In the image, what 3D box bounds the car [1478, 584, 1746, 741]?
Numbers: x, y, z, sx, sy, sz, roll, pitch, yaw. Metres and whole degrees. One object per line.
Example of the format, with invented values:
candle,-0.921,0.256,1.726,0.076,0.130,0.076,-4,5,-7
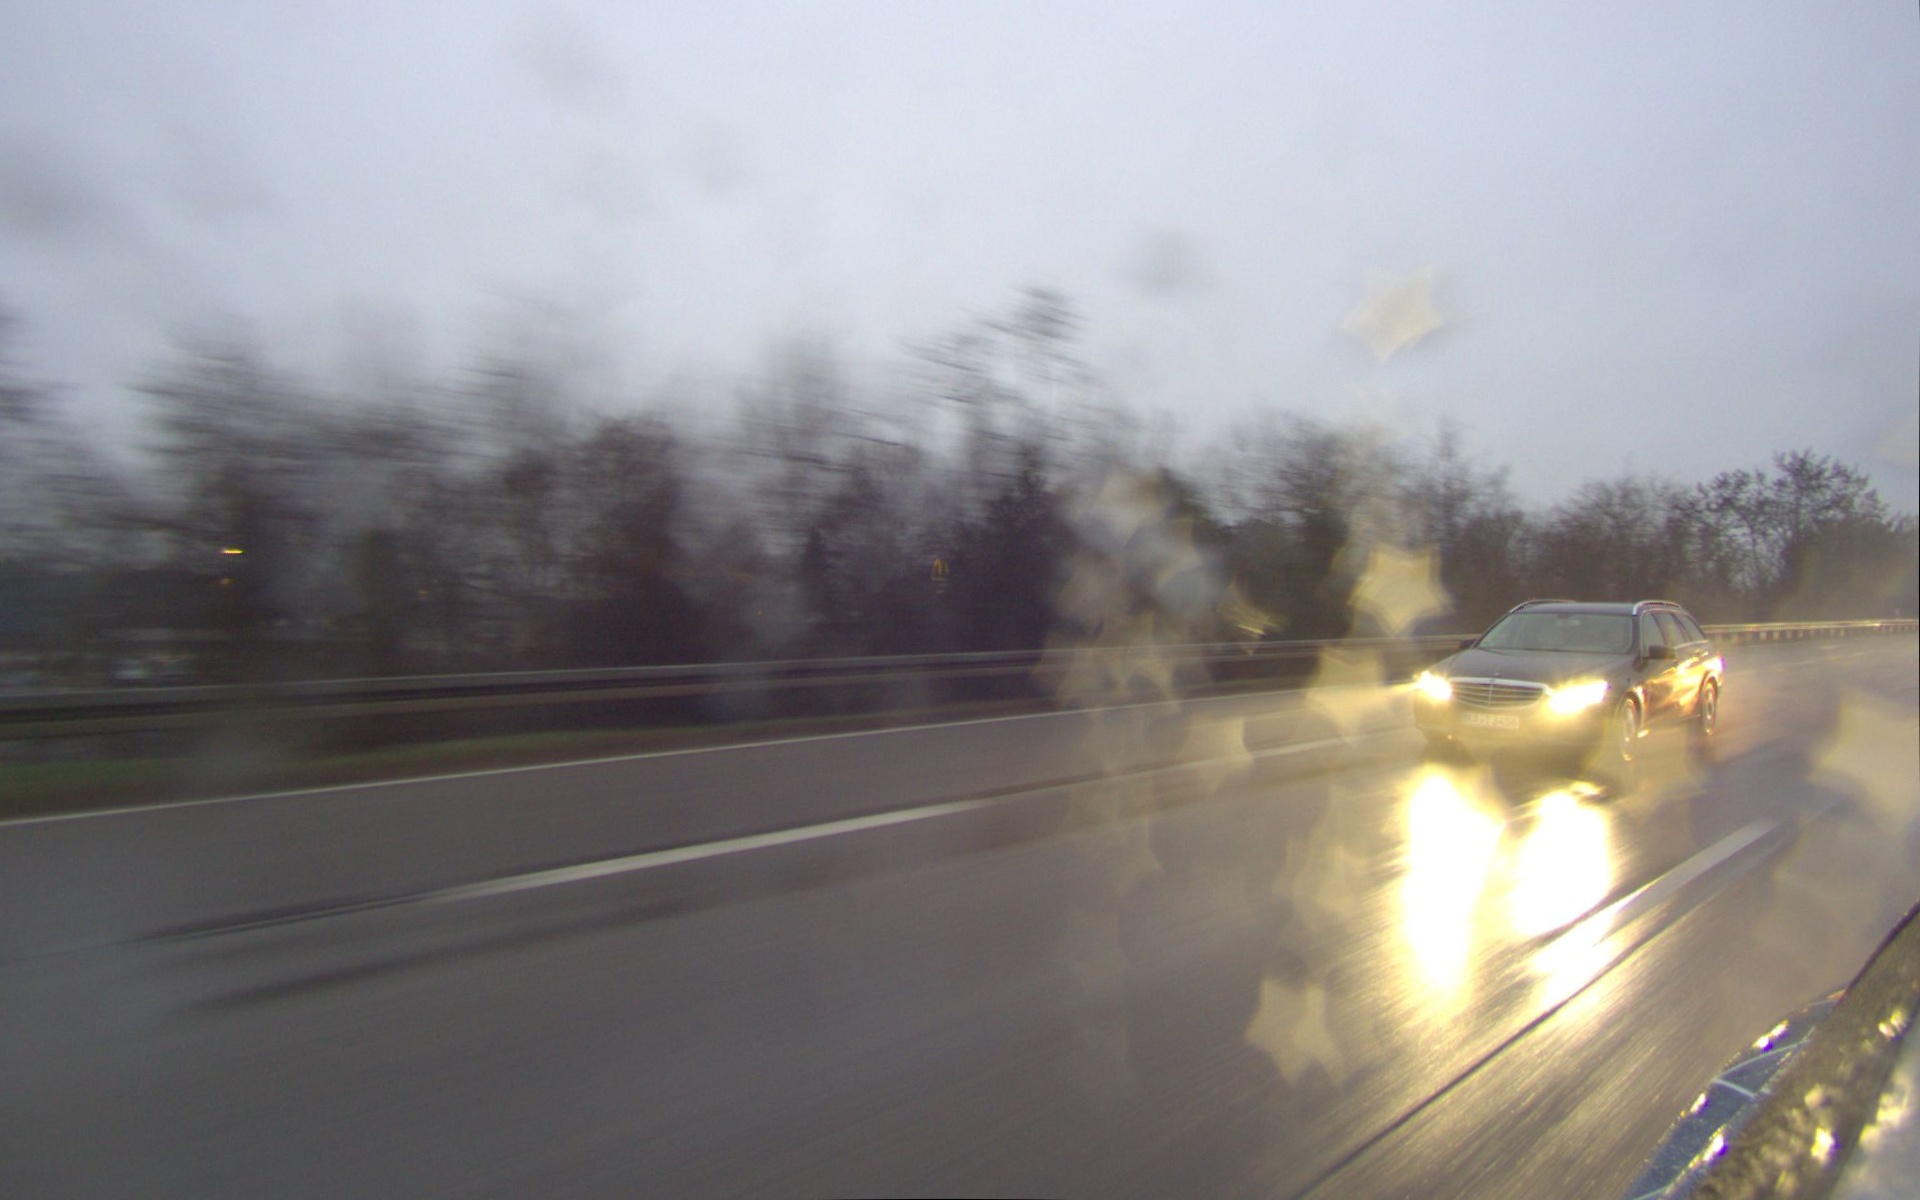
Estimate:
car,7.490,0.588,11.456,4.105,1.472,1.593,1,0,-43
